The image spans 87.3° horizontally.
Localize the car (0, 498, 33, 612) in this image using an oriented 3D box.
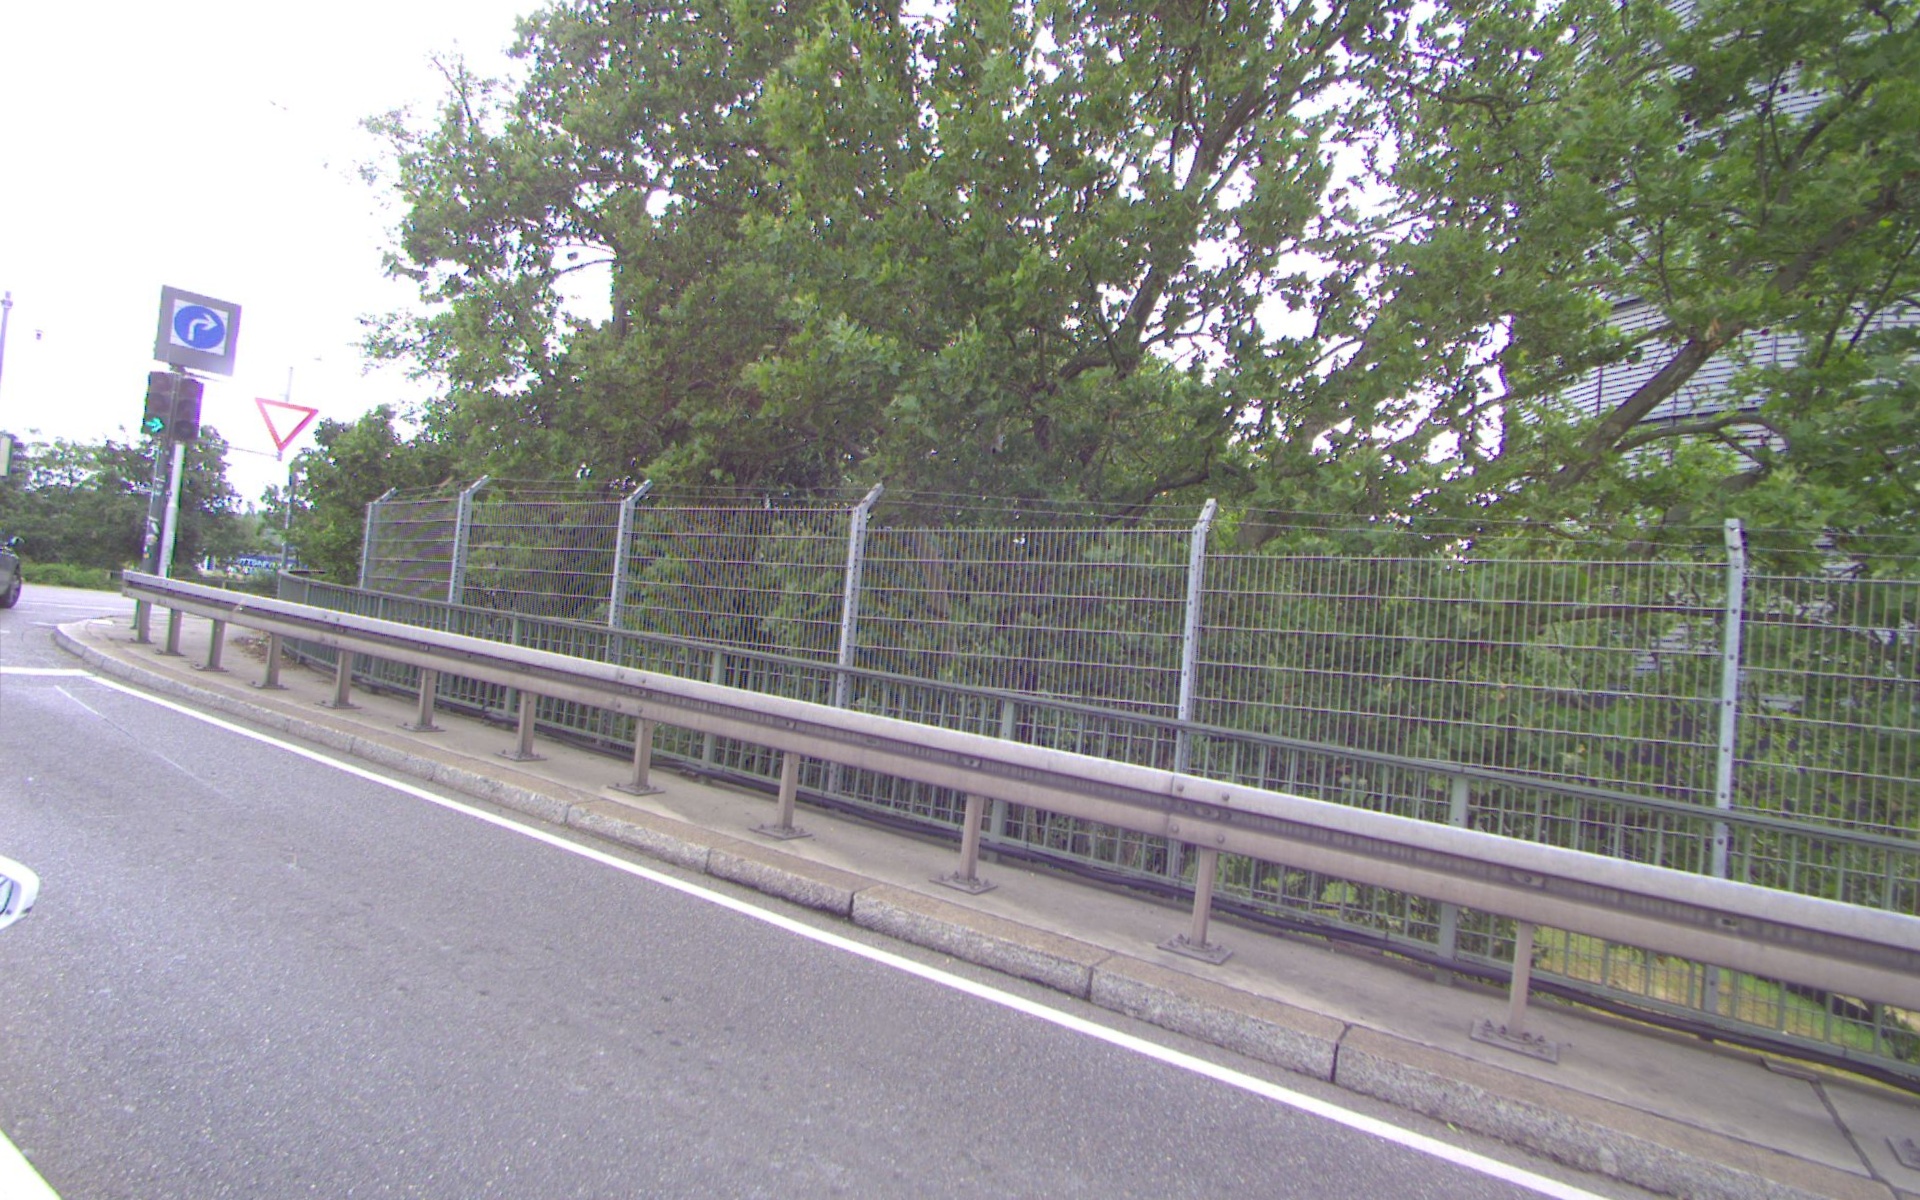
[{"bbox_3d":[-14.702,-0.744,14.146,1.787,1.672,4.111,8,-2,-36],"label":"car"}]
